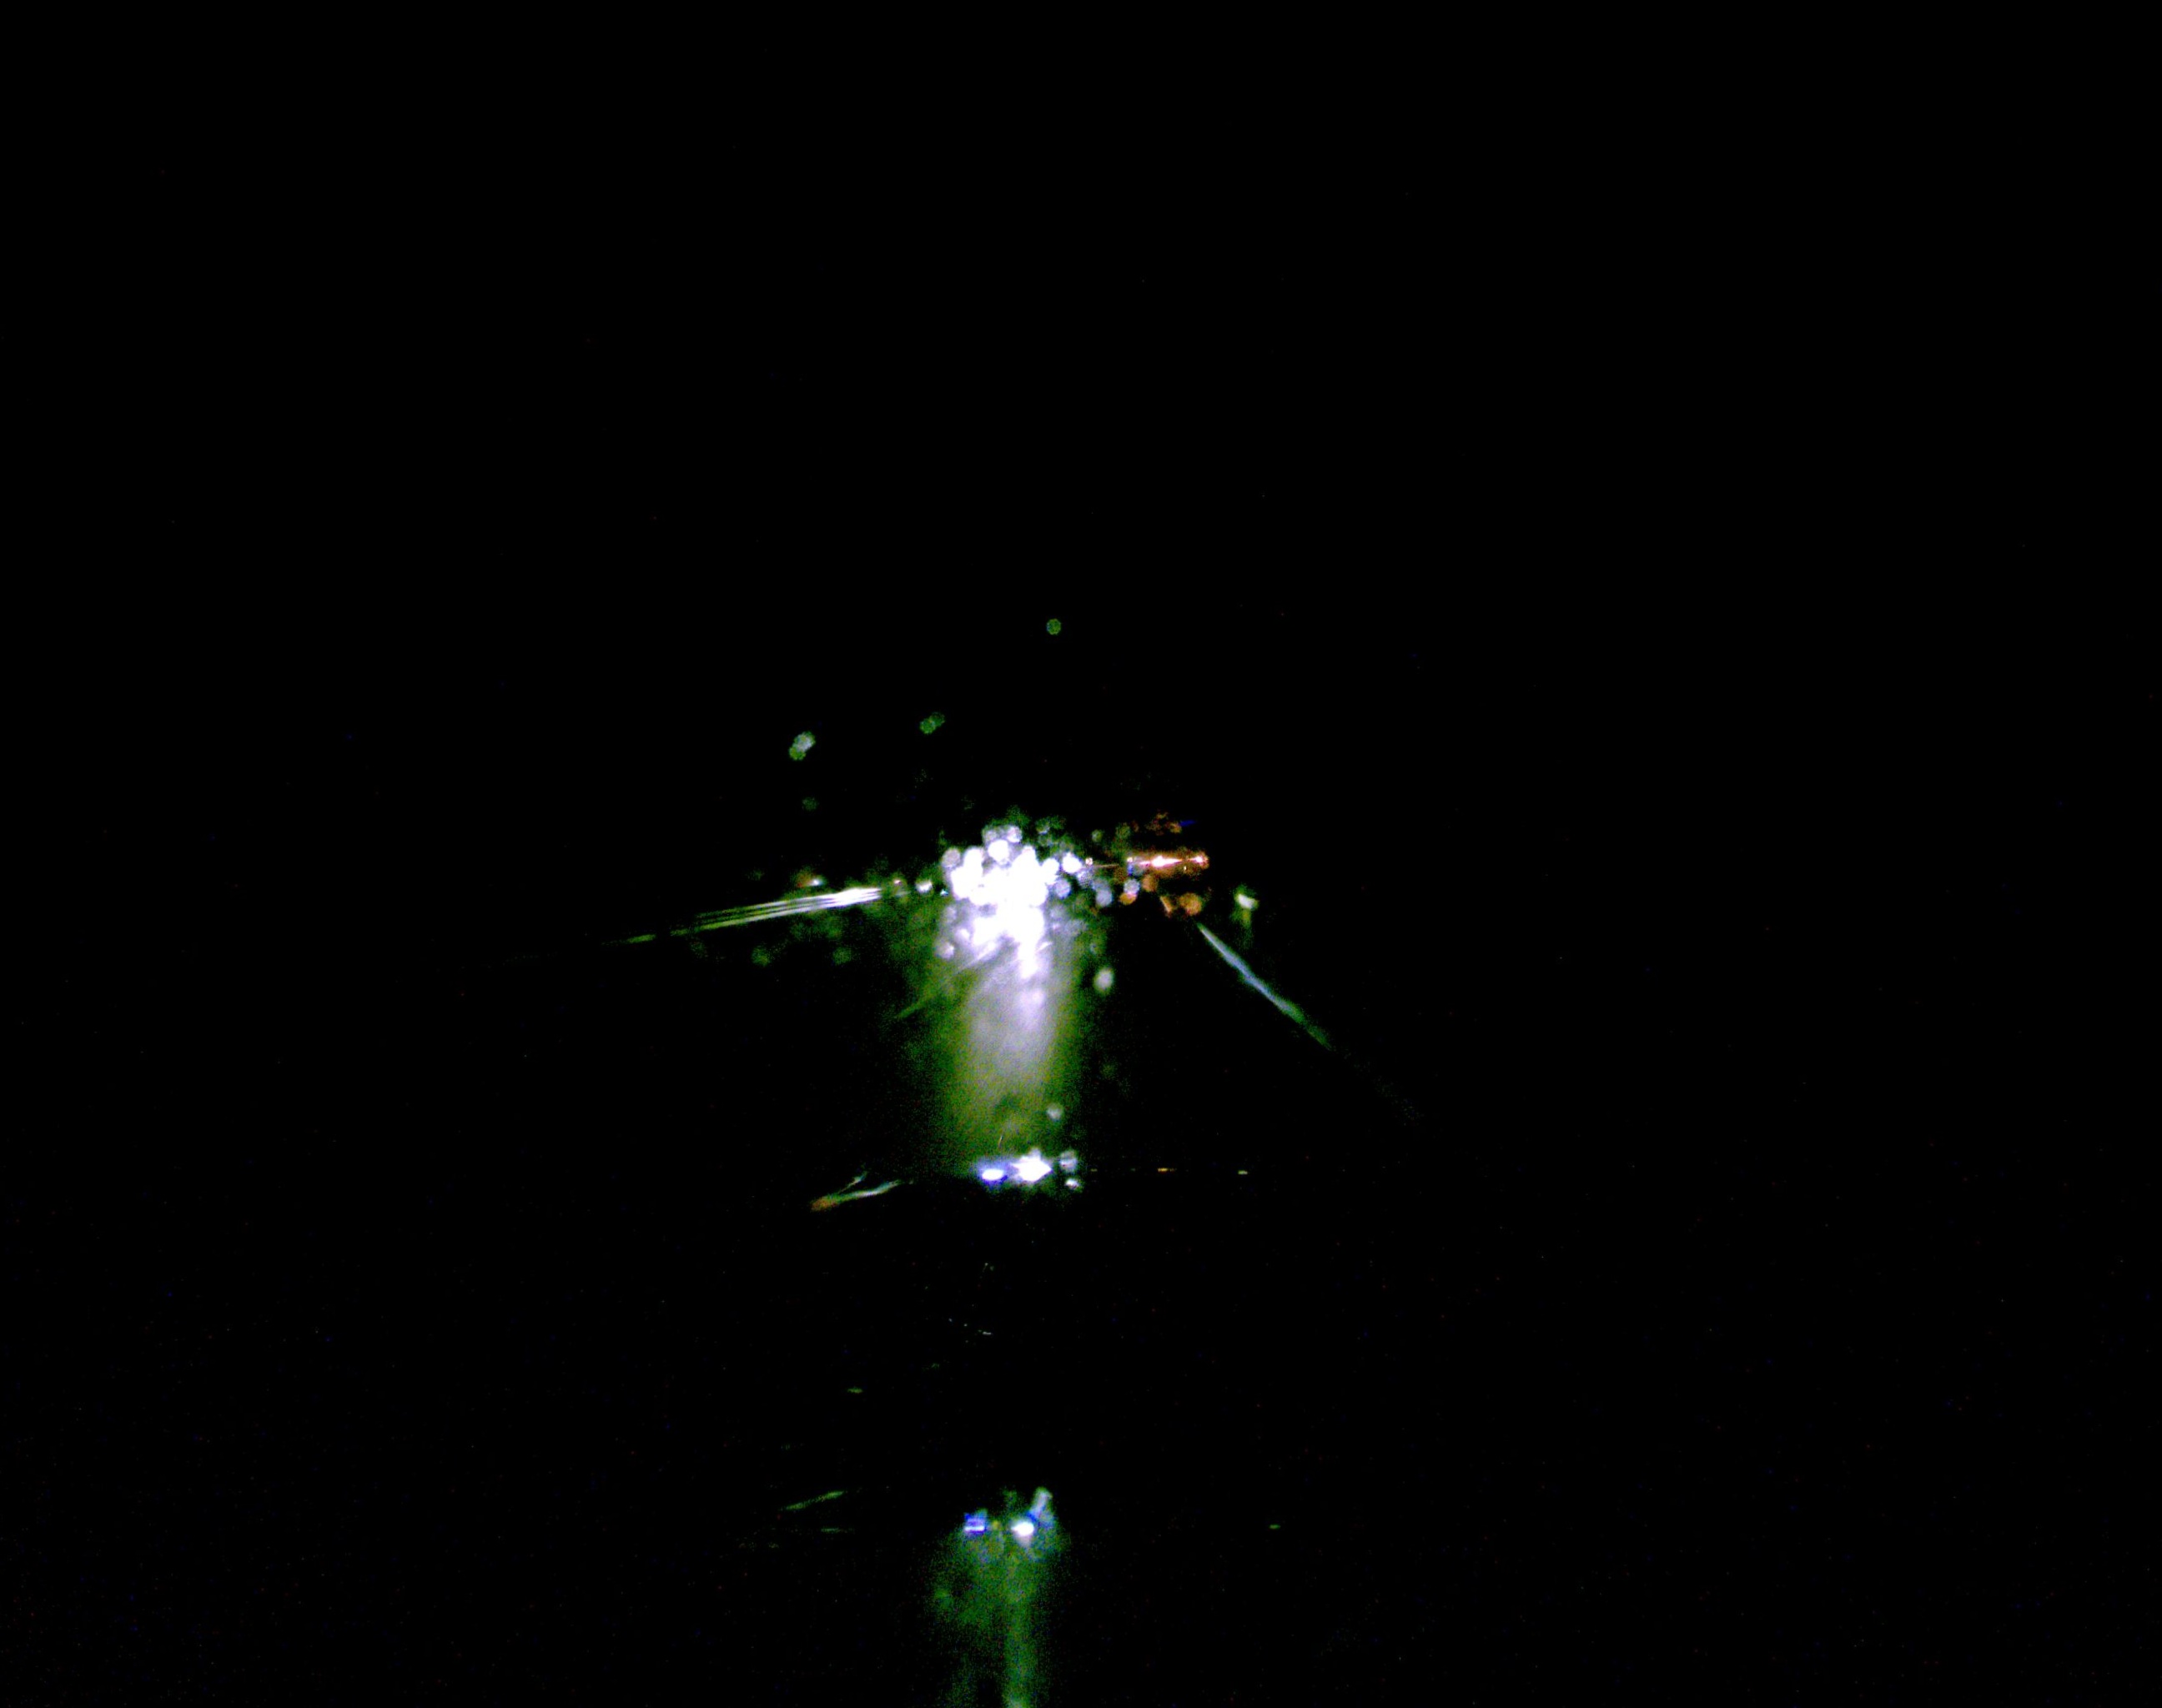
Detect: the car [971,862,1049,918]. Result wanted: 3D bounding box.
[{"bbox_3d":[-2.294,1.172,27.556,1.985,1.693,4.701,-1,-1,3],"label":"car"}]
